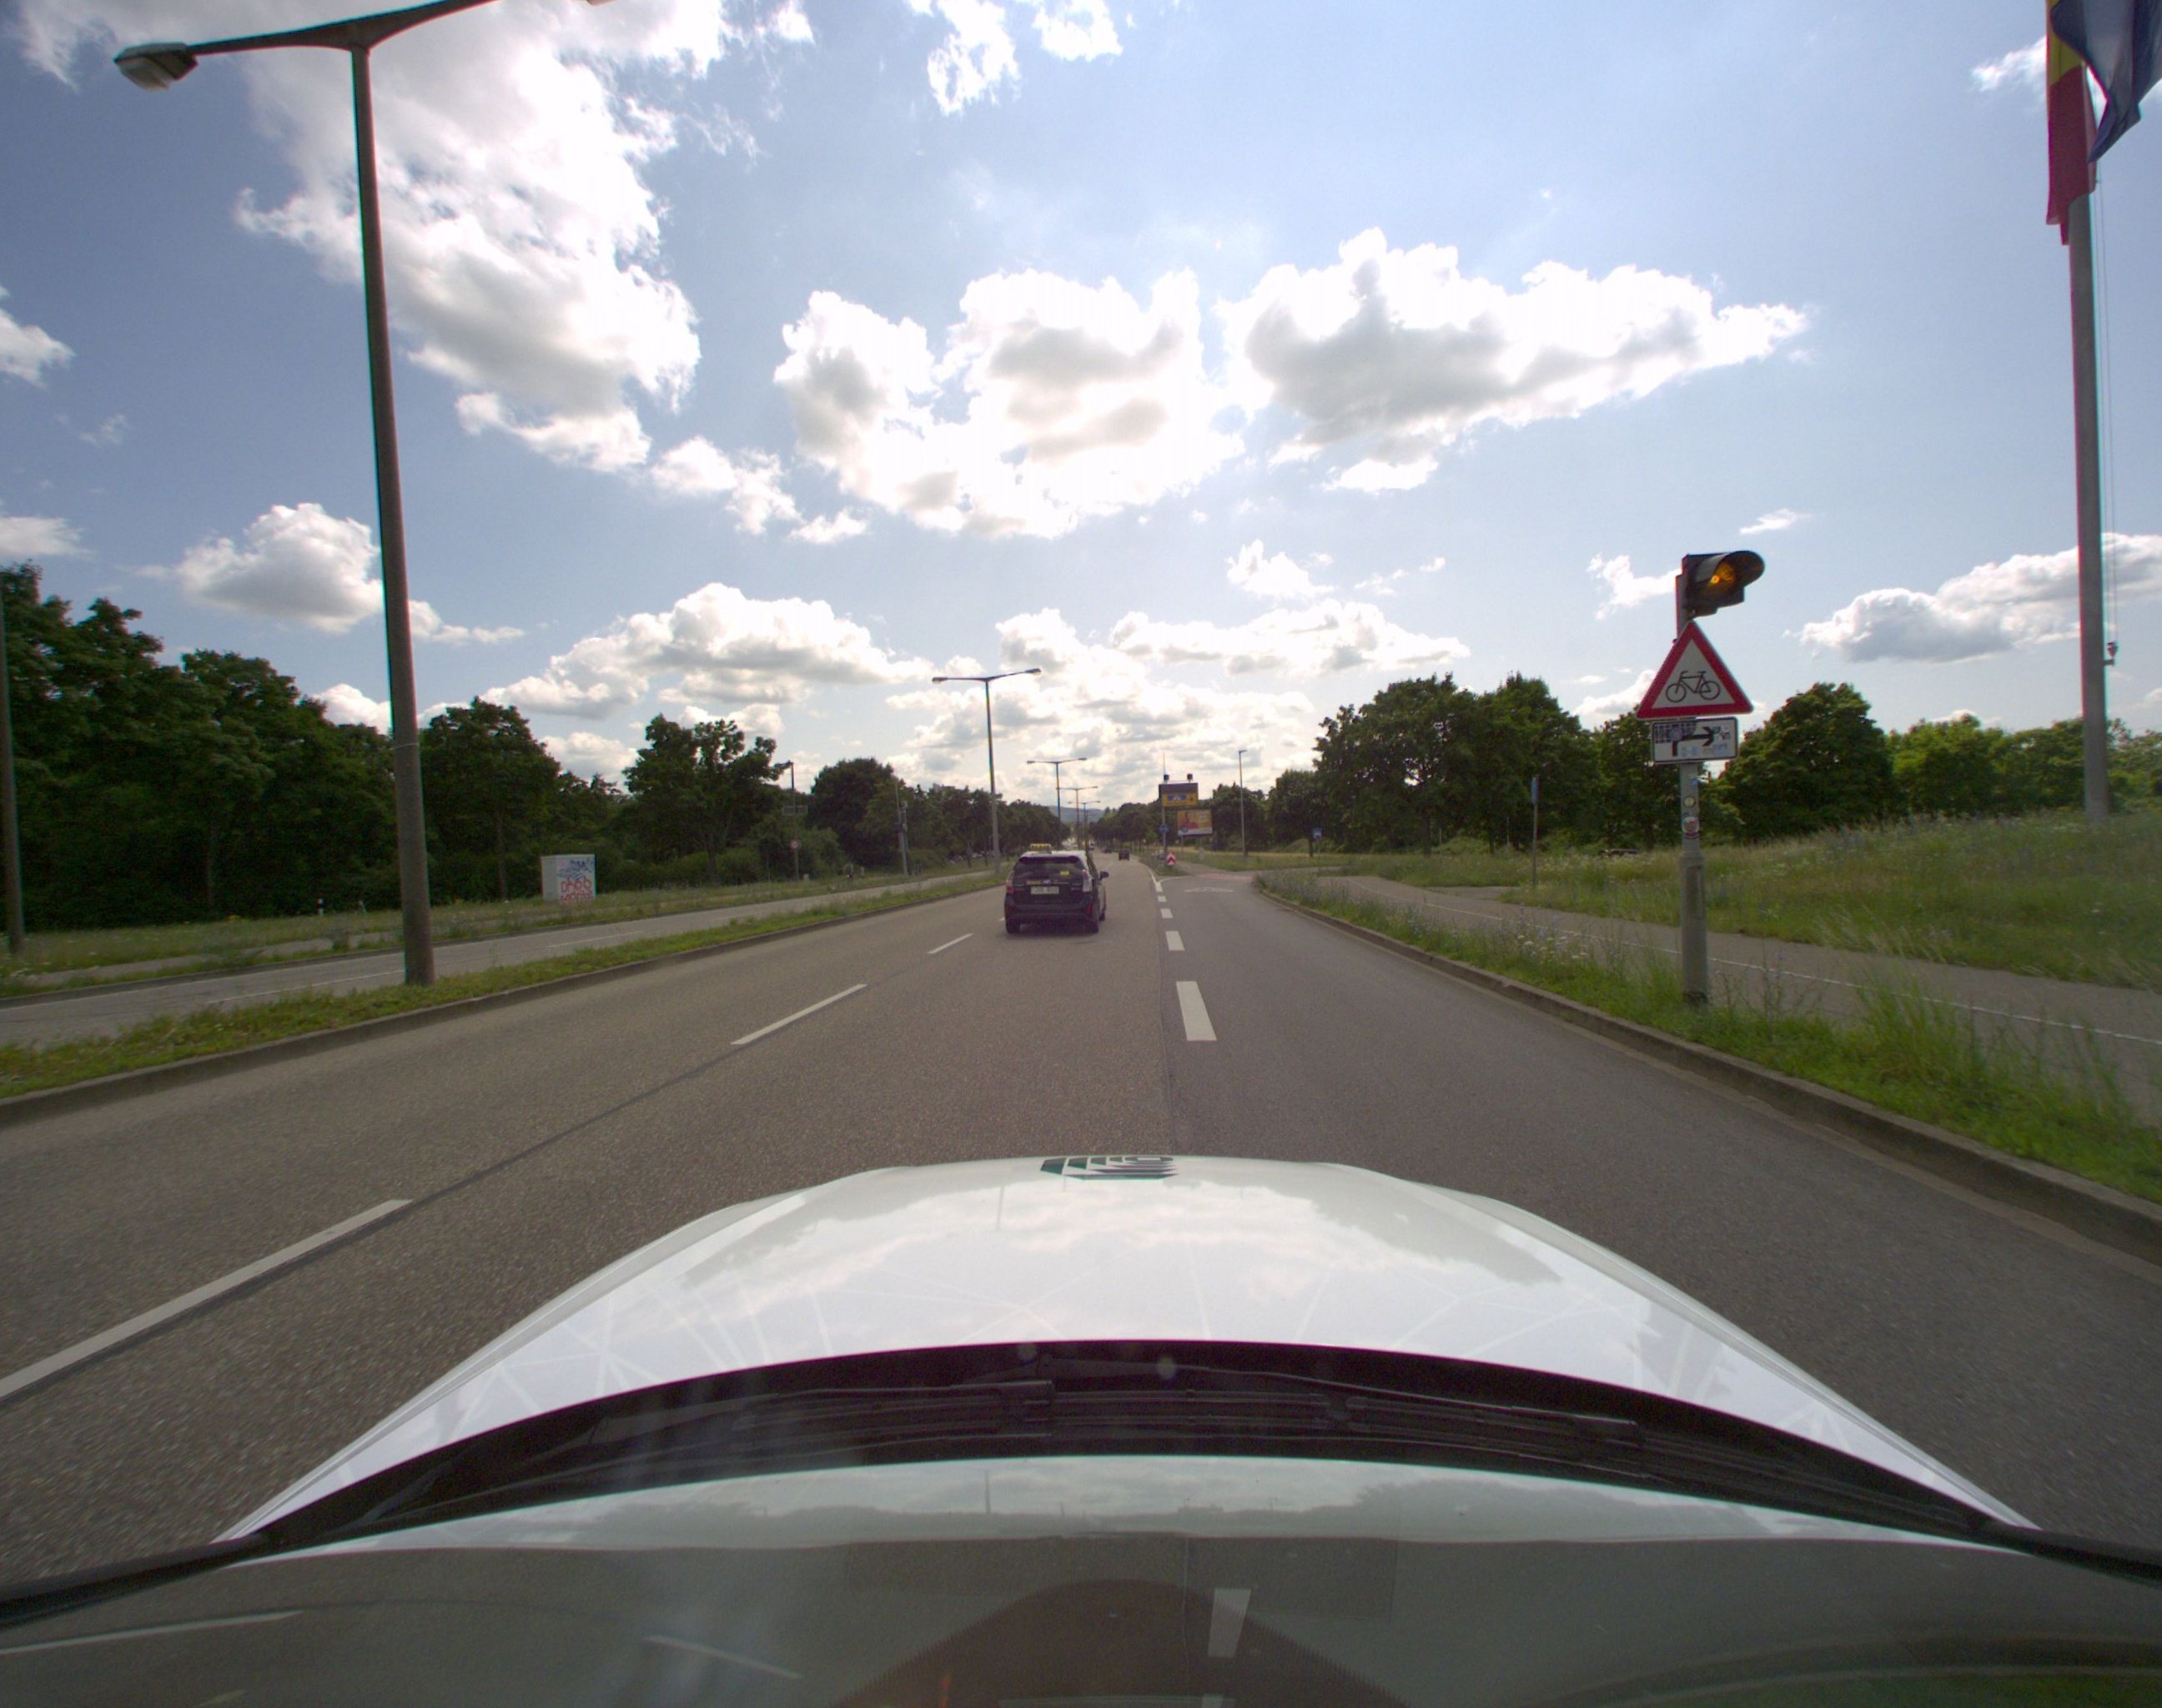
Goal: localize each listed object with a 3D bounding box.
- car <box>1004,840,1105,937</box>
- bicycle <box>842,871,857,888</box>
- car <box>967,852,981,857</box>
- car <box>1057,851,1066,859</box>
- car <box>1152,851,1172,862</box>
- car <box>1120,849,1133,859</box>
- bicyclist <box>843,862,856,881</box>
[{"bbox_3d":[-0.443,0.579,16.501,1.773,1.683,4.001,-1,1,0],"label":"car"},{"bbox_3d":[-15.953,1.734,56.136,0.430,1.068,1.908,-1,1,1],"label":"bicycle"},{"bbox_3d":[-30.447,0.179,231.737,3.768,1.387,1.788,-1,1,3],"label":"car"},{"bbox_3d":[-4.875,0.154,201.949,1.870,1.790,4.730,-4,0,1],"label":"car"},{"bbox_3d":[12.968,0.385,130.820,1.996,1.508,3.982,-1,1,-13],"label":"car"},{"bbox_3d":[7.684,-0.045,138.456,1.986,1.661,4.001,-1,1,1],"label":"car"},{"bbox_3d":[-15.952,1.187,56.193,0.519,1.272,1.107,-1,1,1],"label":"bicyclist"}]
